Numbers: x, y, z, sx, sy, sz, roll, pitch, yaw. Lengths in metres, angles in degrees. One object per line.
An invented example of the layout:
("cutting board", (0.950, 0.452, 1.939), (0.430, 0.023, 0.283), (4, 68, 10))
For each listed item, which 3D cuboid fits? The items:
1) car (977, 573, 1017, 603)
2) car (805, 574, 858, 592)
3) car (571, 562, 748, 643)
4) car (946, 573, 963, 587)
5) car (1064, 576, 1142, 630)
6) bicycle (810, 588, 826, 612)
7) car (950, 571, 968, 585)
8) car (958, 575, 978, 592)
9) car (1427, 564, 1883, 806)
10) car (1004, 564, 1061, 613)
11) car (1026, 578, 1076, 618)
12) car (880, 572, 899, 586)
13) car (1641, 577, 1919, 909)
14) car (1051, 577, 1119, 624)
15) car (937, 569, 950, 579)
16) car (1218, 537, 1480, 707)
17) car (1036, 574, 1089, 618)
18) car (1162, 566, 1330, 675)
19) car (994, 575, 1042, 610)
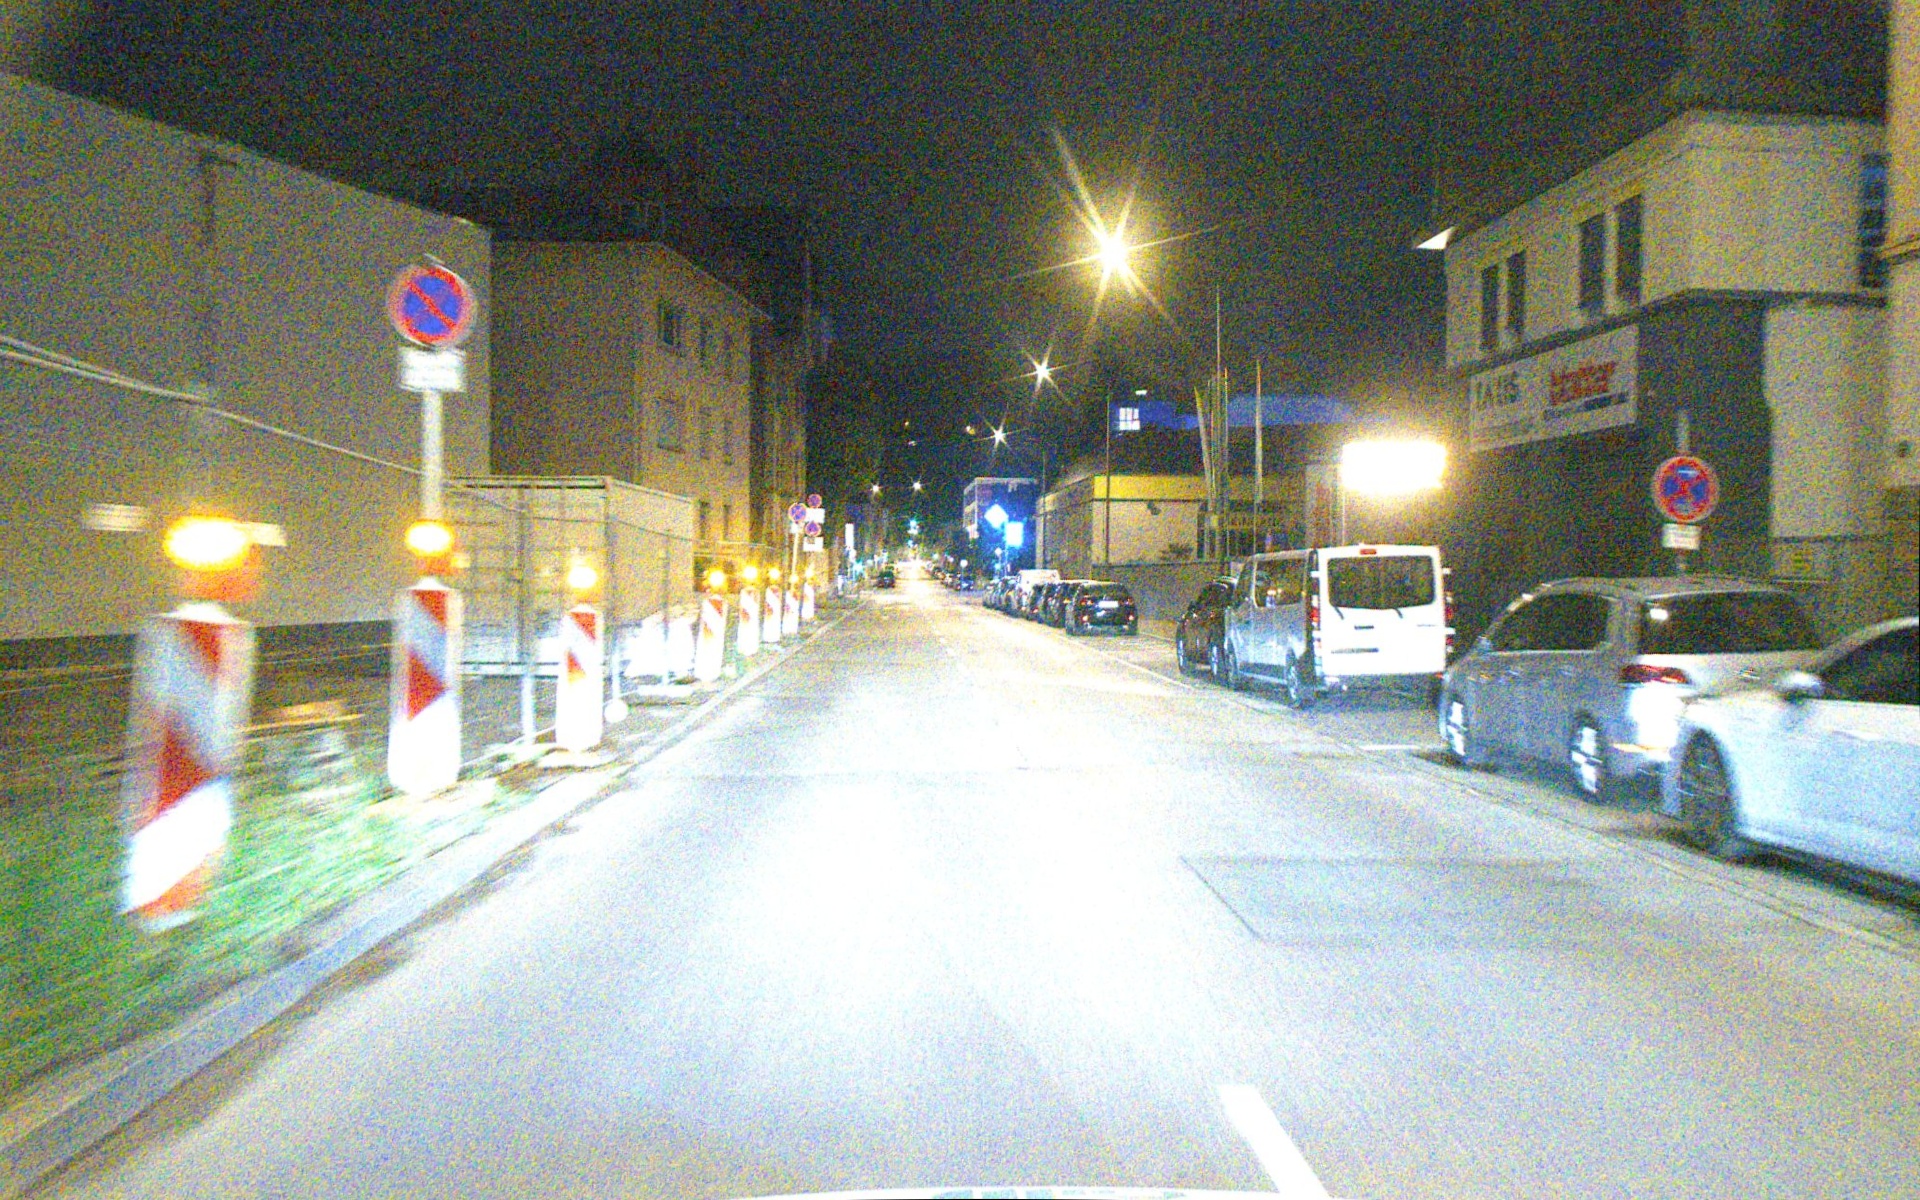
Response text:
("car", (1.998, -0.670, 89.717), (1.740, 1.571, 4.542), (0, 0, -4))
("car", (-10.771, -1.393, 138.770), (4.350, 1.475, 1.999), (0, 0, -3))
("car", (-7.464, 0.047, 41.244), (3.902, 1.922, 1.911), (1, 0, 11))
("car", (-0.657, -2.326, 194.632), (1.953, 1.546, 4.000), (0, 0, -1))
("car", (3.997, 0.065, 46.738), (1.743, 1.451, 4.480), (0, 0, -1))
("bicycle", (-6.498, -0.009, 75.794), (0.607, 1.070, 1.721), (0, 0, -1))
("car", (-0.110, -2.446, 187.541), (1.953, 1.546, 4.000), (0, 0, -1))
("car", (0.776, -1.661, 163.595), (1.953, 1.542, 4.000), (1, 1, -1))
("car", (5.297, 0.556, 13.274), (1.709, 1.593, 4.208), (-1, 0, -3))
("car", (2.992, -0.504, 68.960), (1.765, 1.907, 4.770), (-2, 1, -4))
("car", (3.442, -0.090, 63.083), (1.562, 1.492, 3.891), (0, 0, -1))
("car", (-7.742, -2.337, 181.865), (1.953, 1.528, 3.999), (0, 0, -2))
("car", (5.318, 0.658, 8.161), (1.709, 1.535, 4.831), (-1, 0, -3))
("car", (4.015, -0.005, 53.522), (1.743, 1.451, 3.890), (0, 0, -3))
("car", (-2.632, -4.125, 259.814), (1.953, 1.546, 4.000), (0, 0, -1))
("car", (5.004, 0.238, 22.168), (2.030, 1.962, 5.368), (-1, 0, -2))
("car", (3.608, -0.138, 58.865), (1.562, 1.492, 3.718), (0, 0, -1))
("car", (4.717, 0.306, 27.890), (1.783, 1.627, 4.217), (-2, 1, -4))
("car", (2.550, -0.351, 73.704), (1.780, 1.452, 4.187), (-1, 1, -3))
